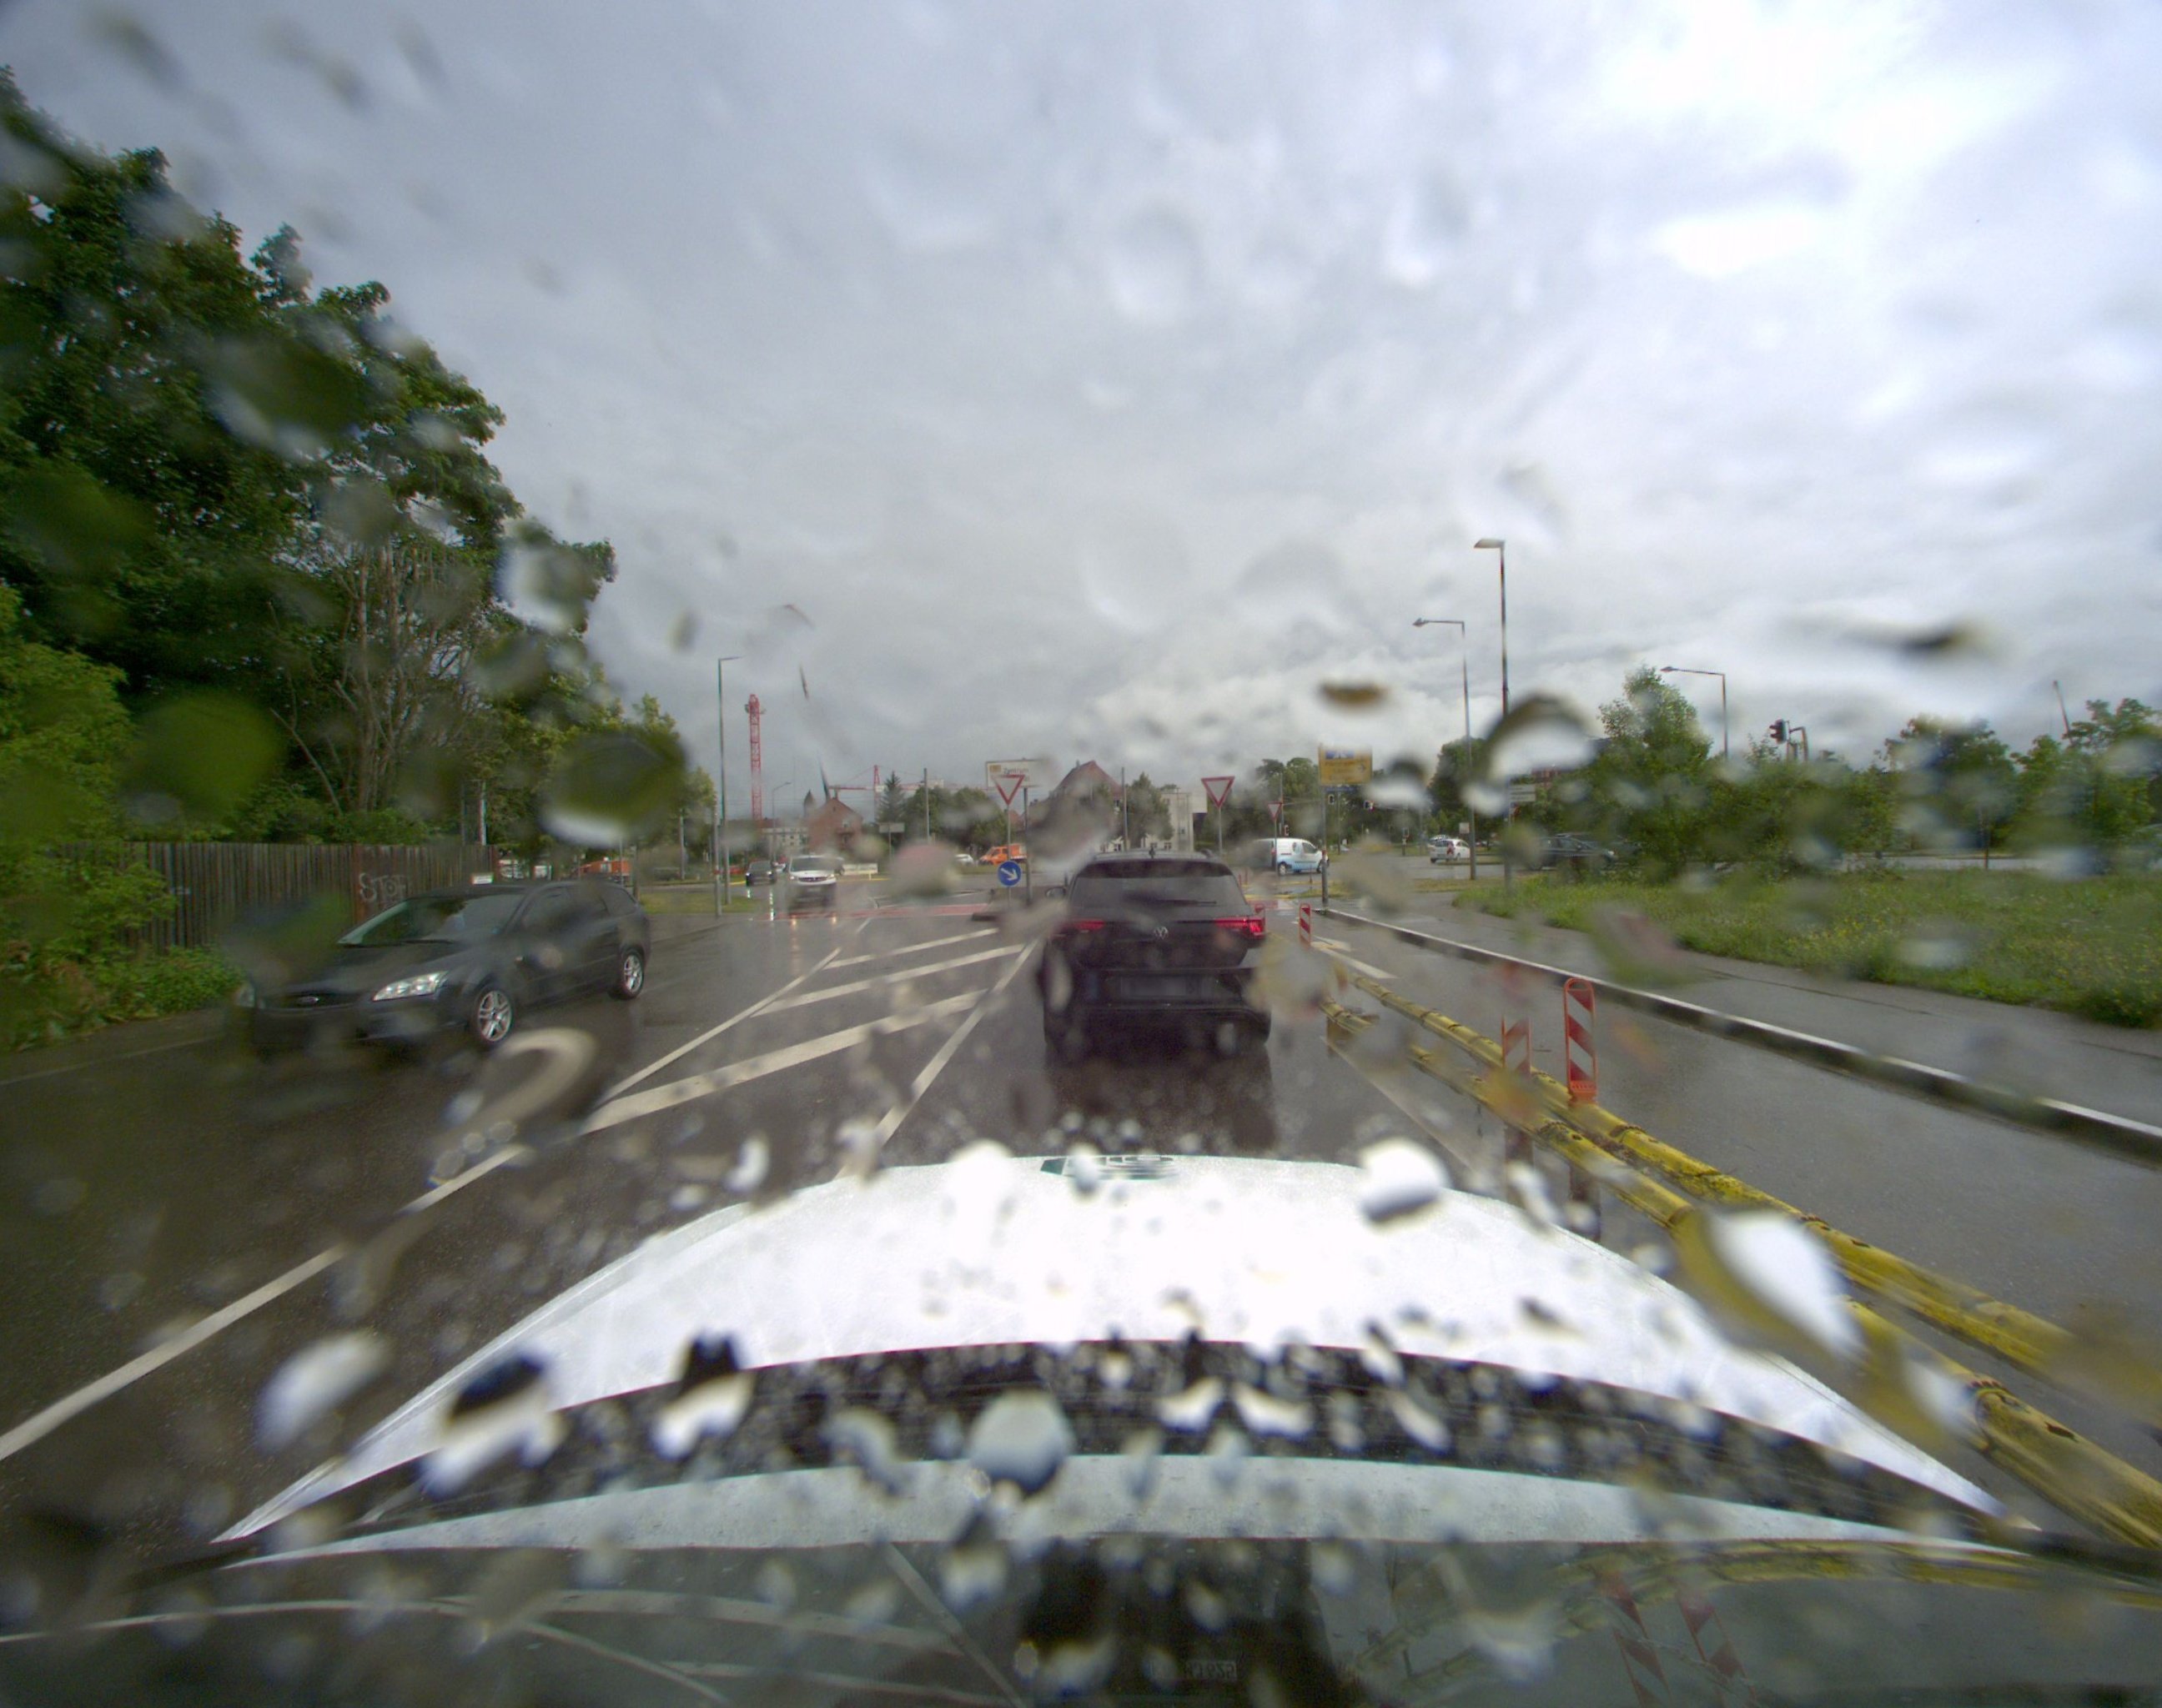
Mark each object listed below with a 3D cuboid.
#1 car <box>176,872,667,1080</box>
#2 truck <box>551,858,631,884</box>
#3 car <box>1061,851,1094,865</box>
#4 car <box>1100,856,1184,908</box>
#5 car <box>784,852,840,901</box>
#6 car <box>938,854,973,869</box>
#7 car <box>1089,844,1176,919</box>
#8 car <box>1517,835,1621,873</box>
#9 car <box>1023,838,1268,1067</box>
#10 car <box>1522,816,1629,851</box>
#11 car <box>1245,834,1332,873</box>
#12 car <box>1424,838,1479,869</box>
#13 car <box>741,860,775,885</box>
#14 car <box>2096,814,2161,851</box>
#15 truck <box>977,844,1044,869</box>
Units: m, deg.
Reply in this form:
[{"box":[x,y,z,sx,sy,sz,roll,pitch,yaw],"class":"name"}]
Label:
[{"box":[-6.167,0.983,8.420,1.871,1.482,4.170,-2,-1,-5],"class":"car"},{"box":[-50.236,1.743,83.589,6.672,2.442,2.437,-2,0,4],"class":"truck"},{"box":[-0.423,0.511,99.646,3.864,1.584,1.565,-1,0,-4],"class":"car"},{"box":[2.382,0.988,30.473,1.977,1.725,4.378,-2,0,20],"class":"car"},{"box":[-11.447,0.909,34.451,1.896,1.876,5.094,-2,0,-22],"class":"car"},{"box":[-14.211,0.812,92.169,3.523,1.584,1.549,-2,0,-38],"class":"car"},{"box":[1.076,0.556,18.548,1.729,1.514,3.603,-1,0,0],"class":"car"},{"box":[22.622,0.024,37.882,3.907,1.644,1.680,-1,0,22],"class":"car"},{"box":[0.437,0.693,7.573,1.703,1.574,3.681,-1,0,-1],"class":"car"},{"box":[24.763,-1.002,40.943,4.350,1.548,1.881,-1,0,23],"class":"car"},{"box":[10.417,-0.037,40.753,4.424,1.809,1.849,-2,0,-38],"class":"car"},{"box":[23.638,-0.035,51.853,1.975,1.830,4.024,-2,0,43],"class":"car"},{"box":[-22.579,1.281,56.800,1.744,1.664,4.072,-2,0,-28],"class":"car"},{"box":[48.694,-0.999,36.363,1.925,1.560,4.064,-2,0,-43],"class":"car"},{"box":[-7.932,0.239,91.458,7.106,2.650,2.309,-2,0,-28],"class":"truck"}]
